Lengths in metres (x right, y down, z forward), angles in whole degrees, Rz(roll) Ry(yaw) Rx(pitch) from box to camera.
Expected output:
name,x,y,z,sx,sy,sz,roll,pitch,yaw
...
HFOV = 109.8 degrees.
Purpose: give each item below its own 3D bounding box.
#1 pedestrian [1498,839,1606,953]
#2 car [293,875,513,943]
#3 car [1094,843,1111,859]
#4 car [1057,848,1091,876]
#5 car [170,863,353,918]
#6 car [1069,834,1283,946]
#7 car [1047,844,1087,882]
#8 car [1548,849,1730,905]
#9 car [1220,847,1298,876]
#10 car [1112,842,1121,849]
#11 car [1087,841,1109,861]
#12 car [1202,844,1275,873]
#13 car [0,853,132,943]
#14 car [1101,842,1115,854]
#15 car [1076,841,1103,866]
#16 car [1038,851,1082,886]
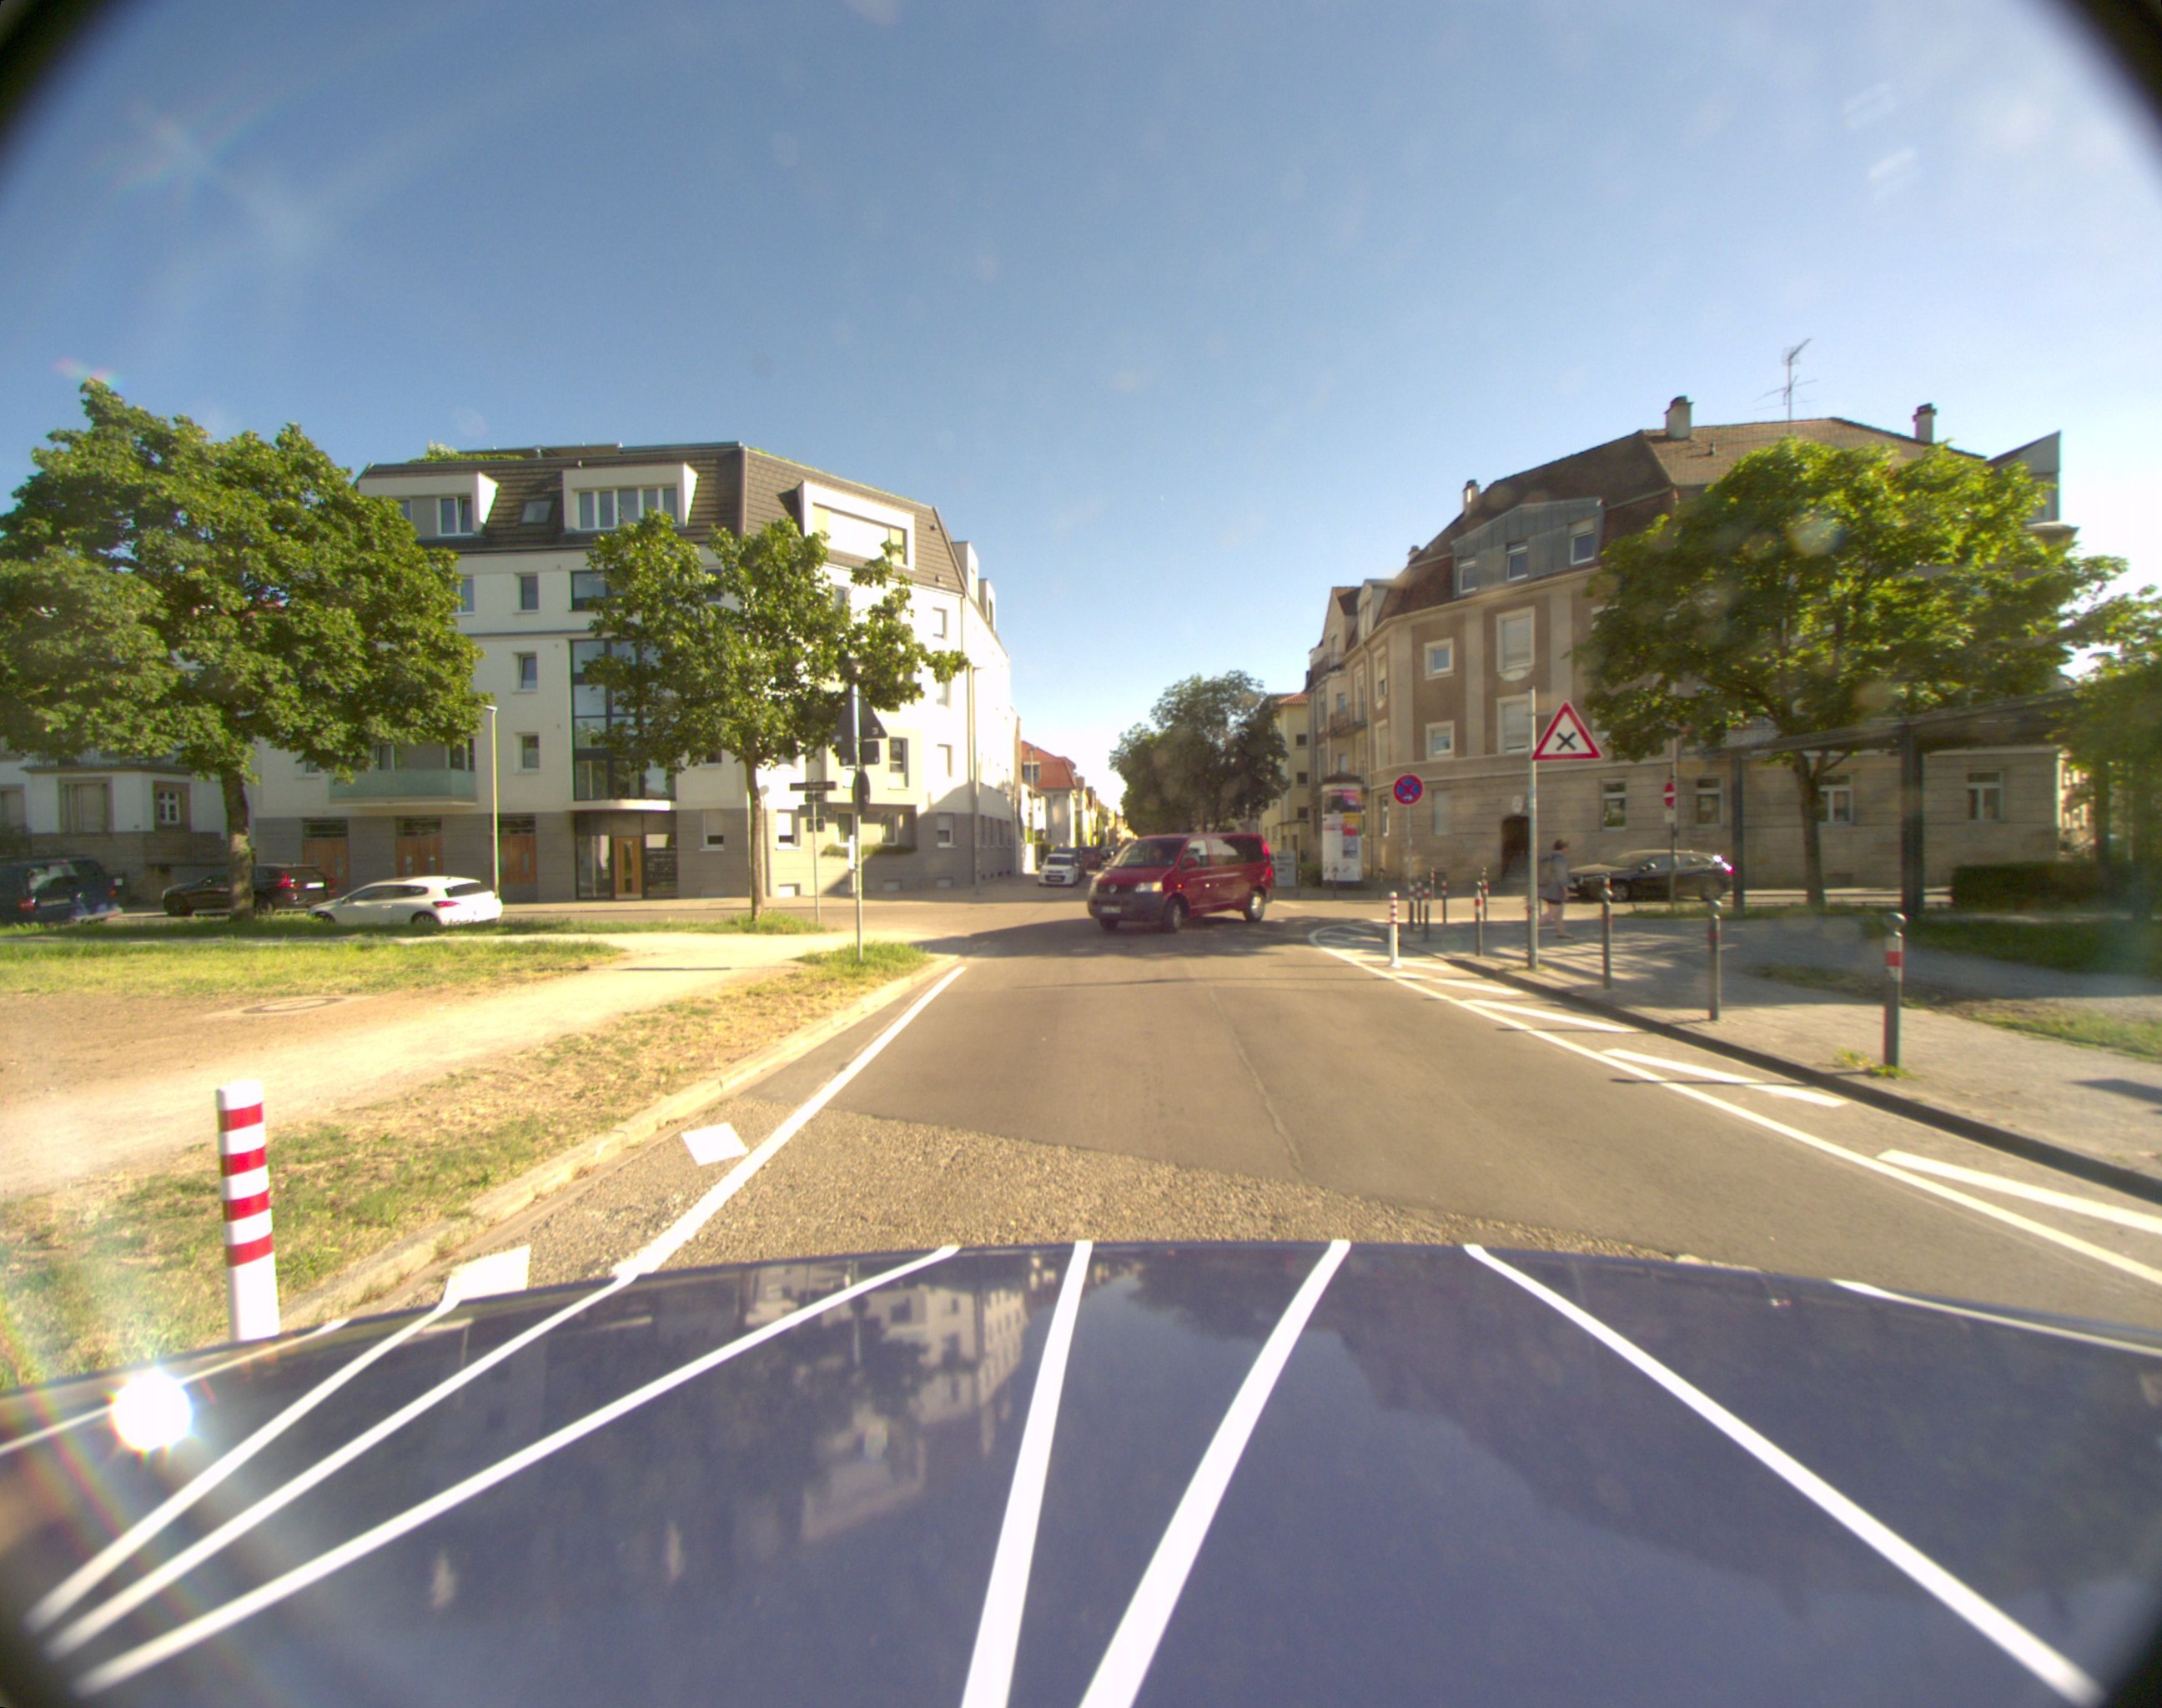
name,x,y,z,sx,sy,sz,roll,pitch,yaw
pedestrian,7.521,0.638,12.159,1.090,1.665,0.912,-4,2,-14
car,-16.951,1.347,19.121,3.990,1.426,1.739,-1,5,4
car,2.598,-0.354,91.226,1.883,1.860,4.402,-1,1,4
car,-0.380,0.422,45.366,1.664,1.533,4.067,2,1,4
car,-27.547,1.213,25.634,4.284,1.673,1.896,-1,2,5
car,2.184,0.603,16.288,4.895,1.950,1.891,-3,3,-44
car,-0.676,0.409,39.968,1.664,1.825,4.257,2,1,4
car,16.629,0.651,22.798,4.011,1.476,1.867,-1,4,1
car,9.543,0.396,40.889,3.788,1.436,1.692,-2,1,1
car,7.868,-1.865,167.345,1.883,1.427,4.348,-1,0,4
car,1.757,-0.334,75.702,1.883,1.861,4.402,2,1,4
car,8.873,0.244,43.116,3.788,1.486,1.692,-2,1,1
car,-27.561,1.108,19.577,3.990,2.073,1.783,-1,5,5
car,4.174,-0.967,117.500,1.883,1.734,4.402,-1,1,4
car,0.707,-0.067,61.717,1.883,1.861,4.402,2,1,4
car,-0.921,0.644,35.512,1.664,1.440,3.689,2,1,4
